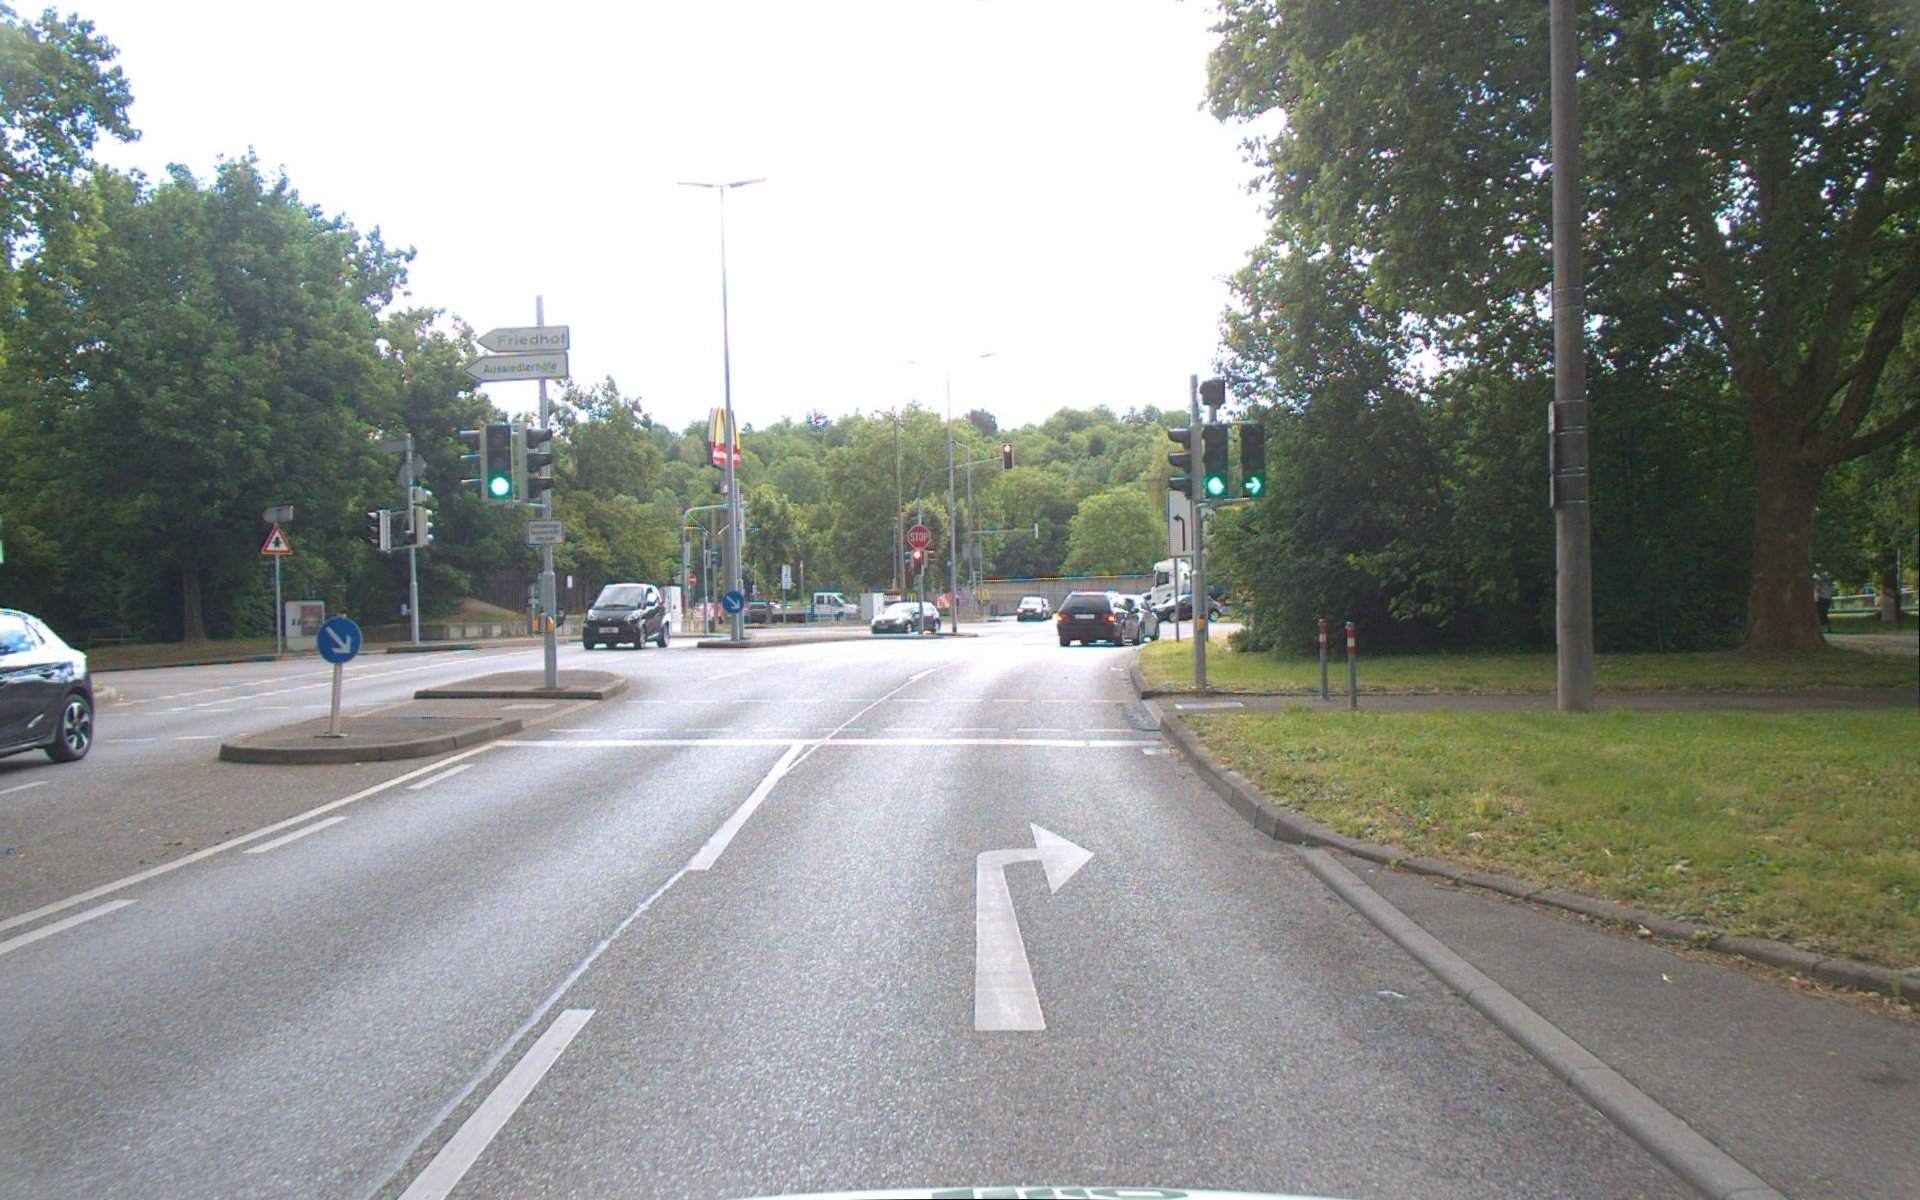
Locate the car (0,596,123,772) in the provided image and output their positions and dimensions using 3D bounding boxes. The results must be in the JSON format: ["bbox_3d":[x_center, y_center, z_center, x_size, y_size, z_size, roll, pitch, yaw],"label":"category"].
[{"bbox_3d":[-8.653,0.747,13.614,1.537,1.406,3.949,-3,1,-2],"label":"car"}]

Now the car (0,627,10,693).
[{"bbox_3d":[-23.875,1.428,38.004,3.768,1.505,1.824,-2,0,28],"label":"car"}]

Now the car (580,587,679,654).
[{"bbox_3d":[-8.092,0.473,40.689,1.535,1.553,3.191,0,1,5],"label":"car"}]

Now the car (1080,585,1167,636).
[{"bbox_3d":[5.332,0.323,53.528,1.691,1.557,4.148,-2,-1,22],"label":"car"}]

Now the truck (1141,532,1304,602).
[{"bbox_3d":[15.606,-1.874,98.373,8.916,3.650,3.218,-3,-1,24],"label":"truck"}]

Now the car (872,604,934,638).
[{"bbox_3d":[-2.478,0.910,73.278,1.641,1.390,4.314,-1,0,13],"label":"car"}]

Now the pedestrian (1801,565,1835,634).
[{"bbox_3d":[19.757,-0.003,38.091,0.499,1.558,0.778,-1,-1,14],"label":"pedestrian"}]

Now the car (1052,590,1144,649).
[{"bbox_3d":[3.968,0.529,46.739,1.783,1.536,4.578,-2,0,15],"label":"car"}]
